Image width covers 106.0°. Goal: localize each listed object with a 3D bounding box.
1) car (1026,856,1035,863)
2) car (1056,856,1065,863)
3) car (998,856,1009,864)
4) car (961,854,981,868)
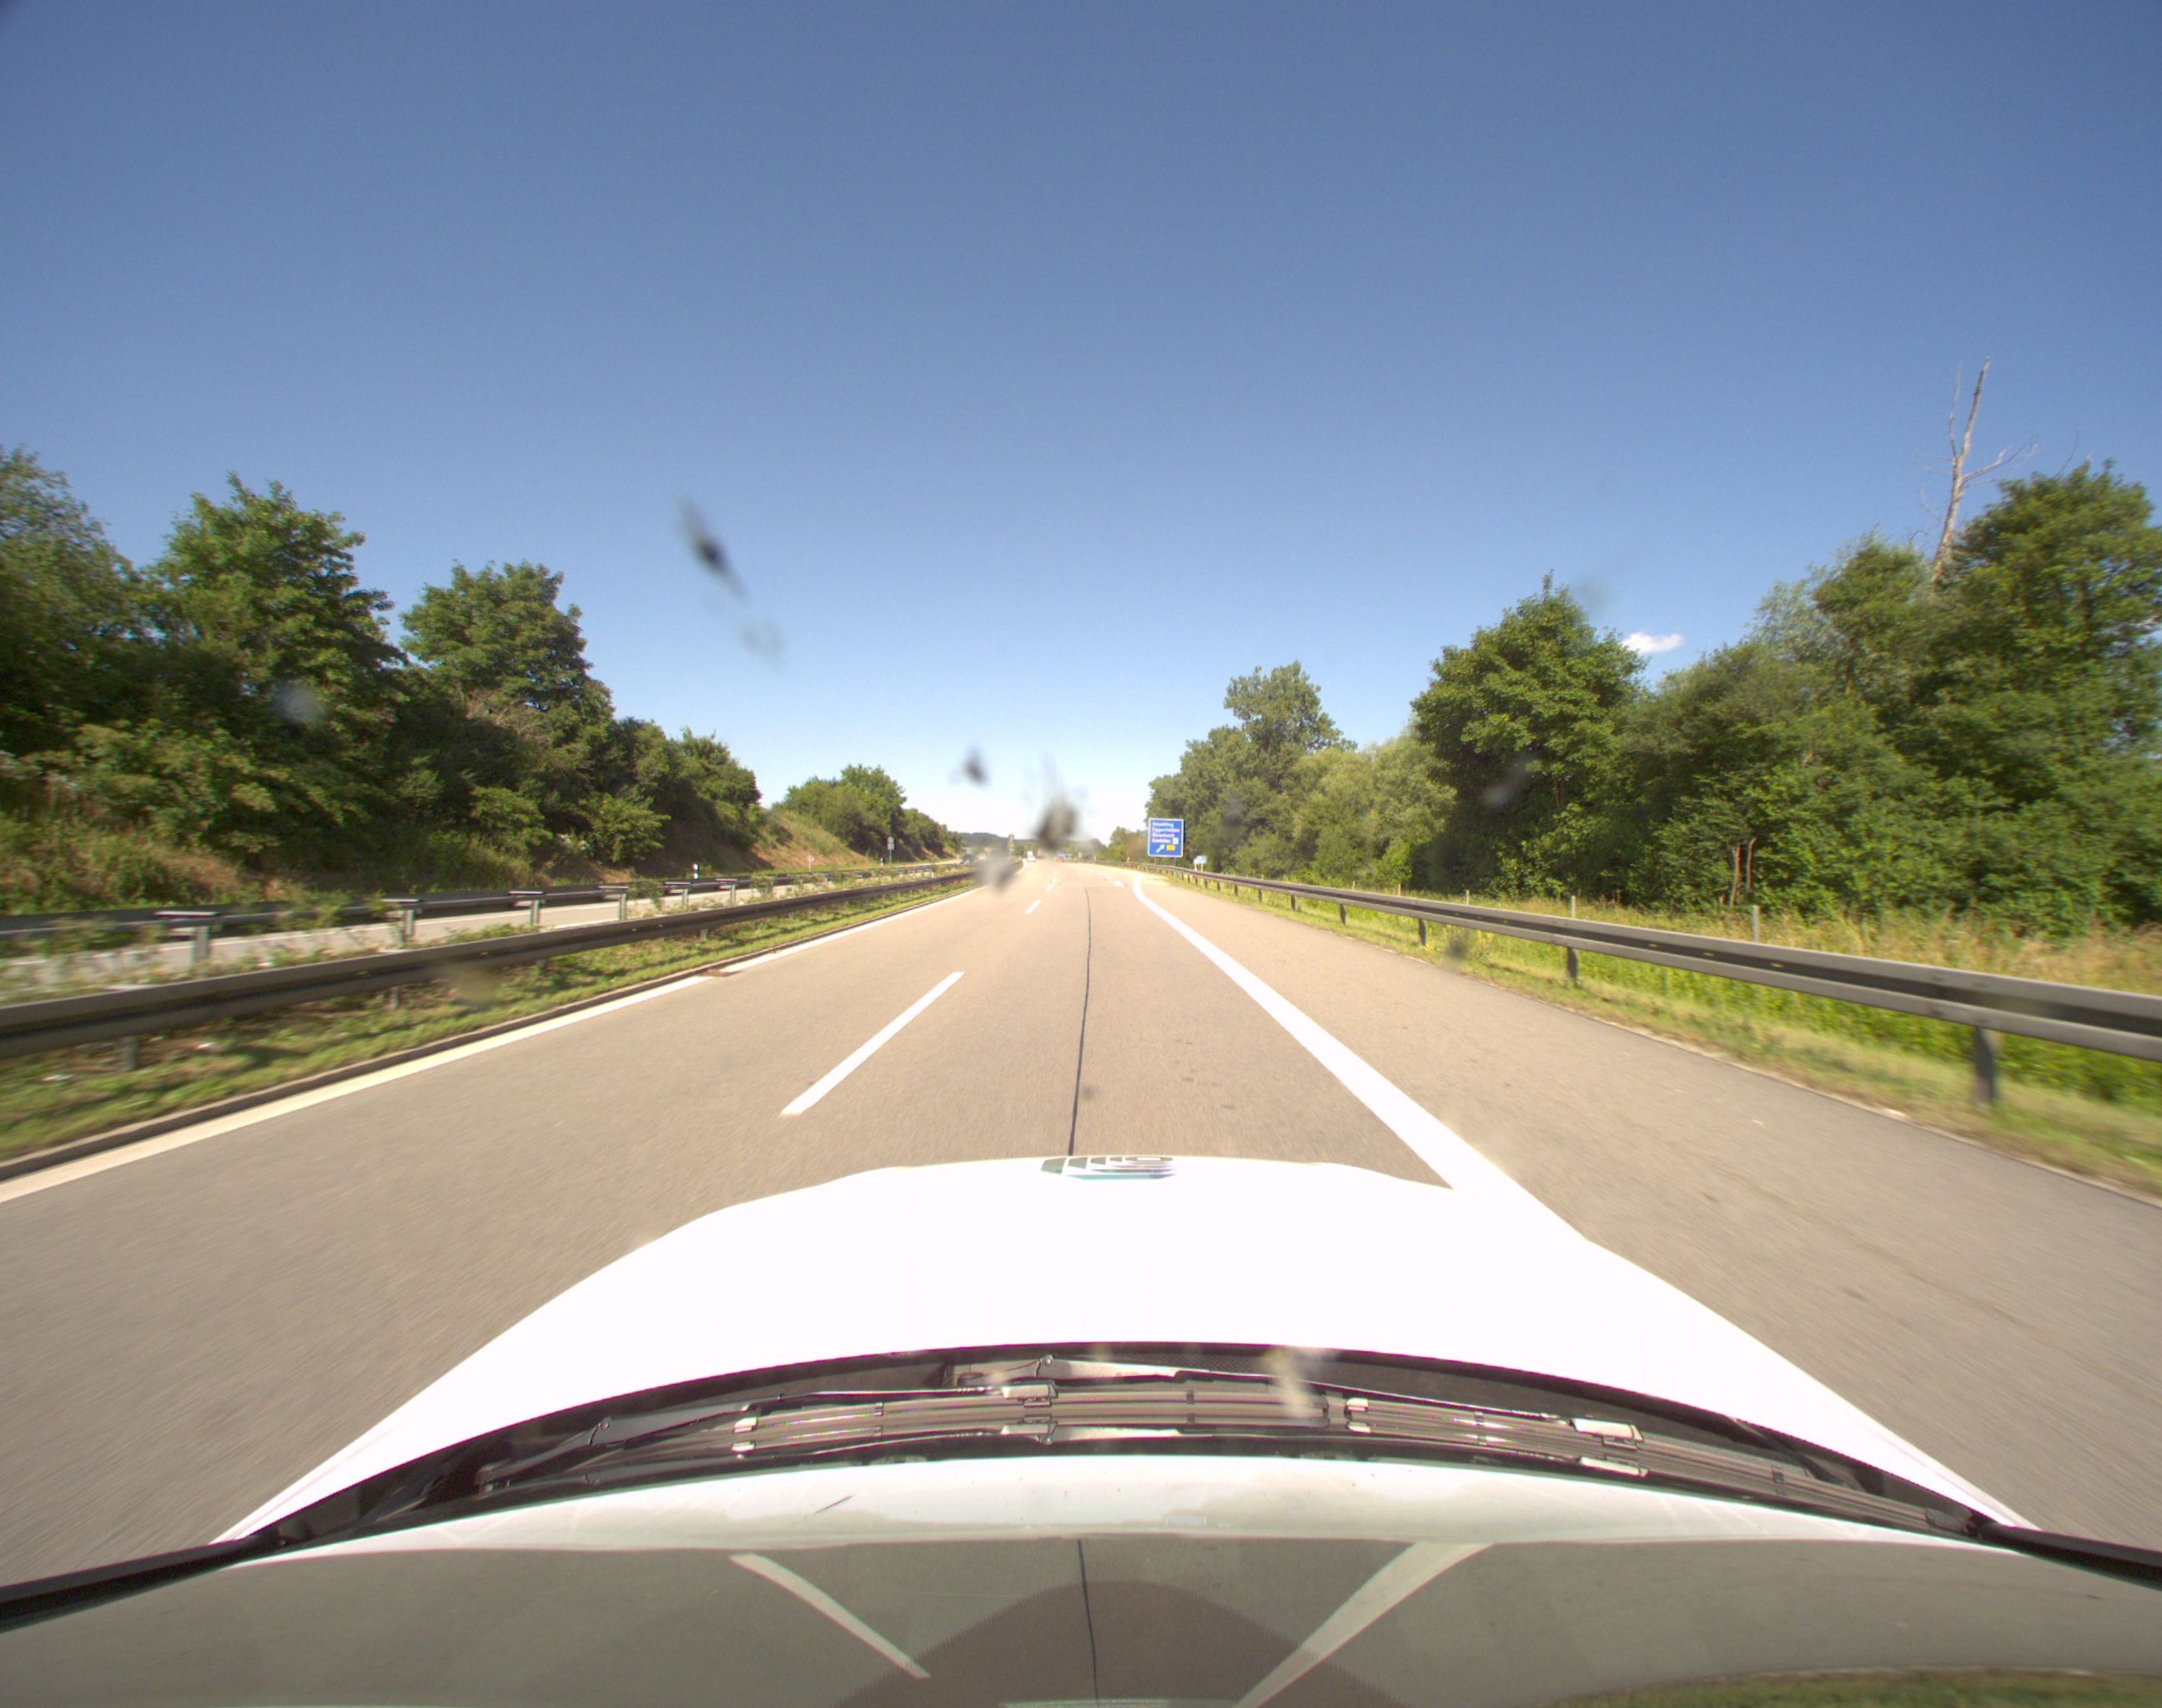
[{"bbox_3d":[-11.761,1.315,189.484,2.058,1.625,3.993,0,-3,-4],"label":"car"},{"bbox_3d":[-4.850,1.384,195.276,1.776,1.431,4.003,4,-1,3],"label":"car"},{"bbox_3d":[-15.295,1.114,160.660,1.989,1.545,4.671,-1,0,-3],"label":"car"},{"bbox_3d":[-12.024,0.807,89.208,1.640,1.455,4.904,0,-1,-1],"label":"car"}]
